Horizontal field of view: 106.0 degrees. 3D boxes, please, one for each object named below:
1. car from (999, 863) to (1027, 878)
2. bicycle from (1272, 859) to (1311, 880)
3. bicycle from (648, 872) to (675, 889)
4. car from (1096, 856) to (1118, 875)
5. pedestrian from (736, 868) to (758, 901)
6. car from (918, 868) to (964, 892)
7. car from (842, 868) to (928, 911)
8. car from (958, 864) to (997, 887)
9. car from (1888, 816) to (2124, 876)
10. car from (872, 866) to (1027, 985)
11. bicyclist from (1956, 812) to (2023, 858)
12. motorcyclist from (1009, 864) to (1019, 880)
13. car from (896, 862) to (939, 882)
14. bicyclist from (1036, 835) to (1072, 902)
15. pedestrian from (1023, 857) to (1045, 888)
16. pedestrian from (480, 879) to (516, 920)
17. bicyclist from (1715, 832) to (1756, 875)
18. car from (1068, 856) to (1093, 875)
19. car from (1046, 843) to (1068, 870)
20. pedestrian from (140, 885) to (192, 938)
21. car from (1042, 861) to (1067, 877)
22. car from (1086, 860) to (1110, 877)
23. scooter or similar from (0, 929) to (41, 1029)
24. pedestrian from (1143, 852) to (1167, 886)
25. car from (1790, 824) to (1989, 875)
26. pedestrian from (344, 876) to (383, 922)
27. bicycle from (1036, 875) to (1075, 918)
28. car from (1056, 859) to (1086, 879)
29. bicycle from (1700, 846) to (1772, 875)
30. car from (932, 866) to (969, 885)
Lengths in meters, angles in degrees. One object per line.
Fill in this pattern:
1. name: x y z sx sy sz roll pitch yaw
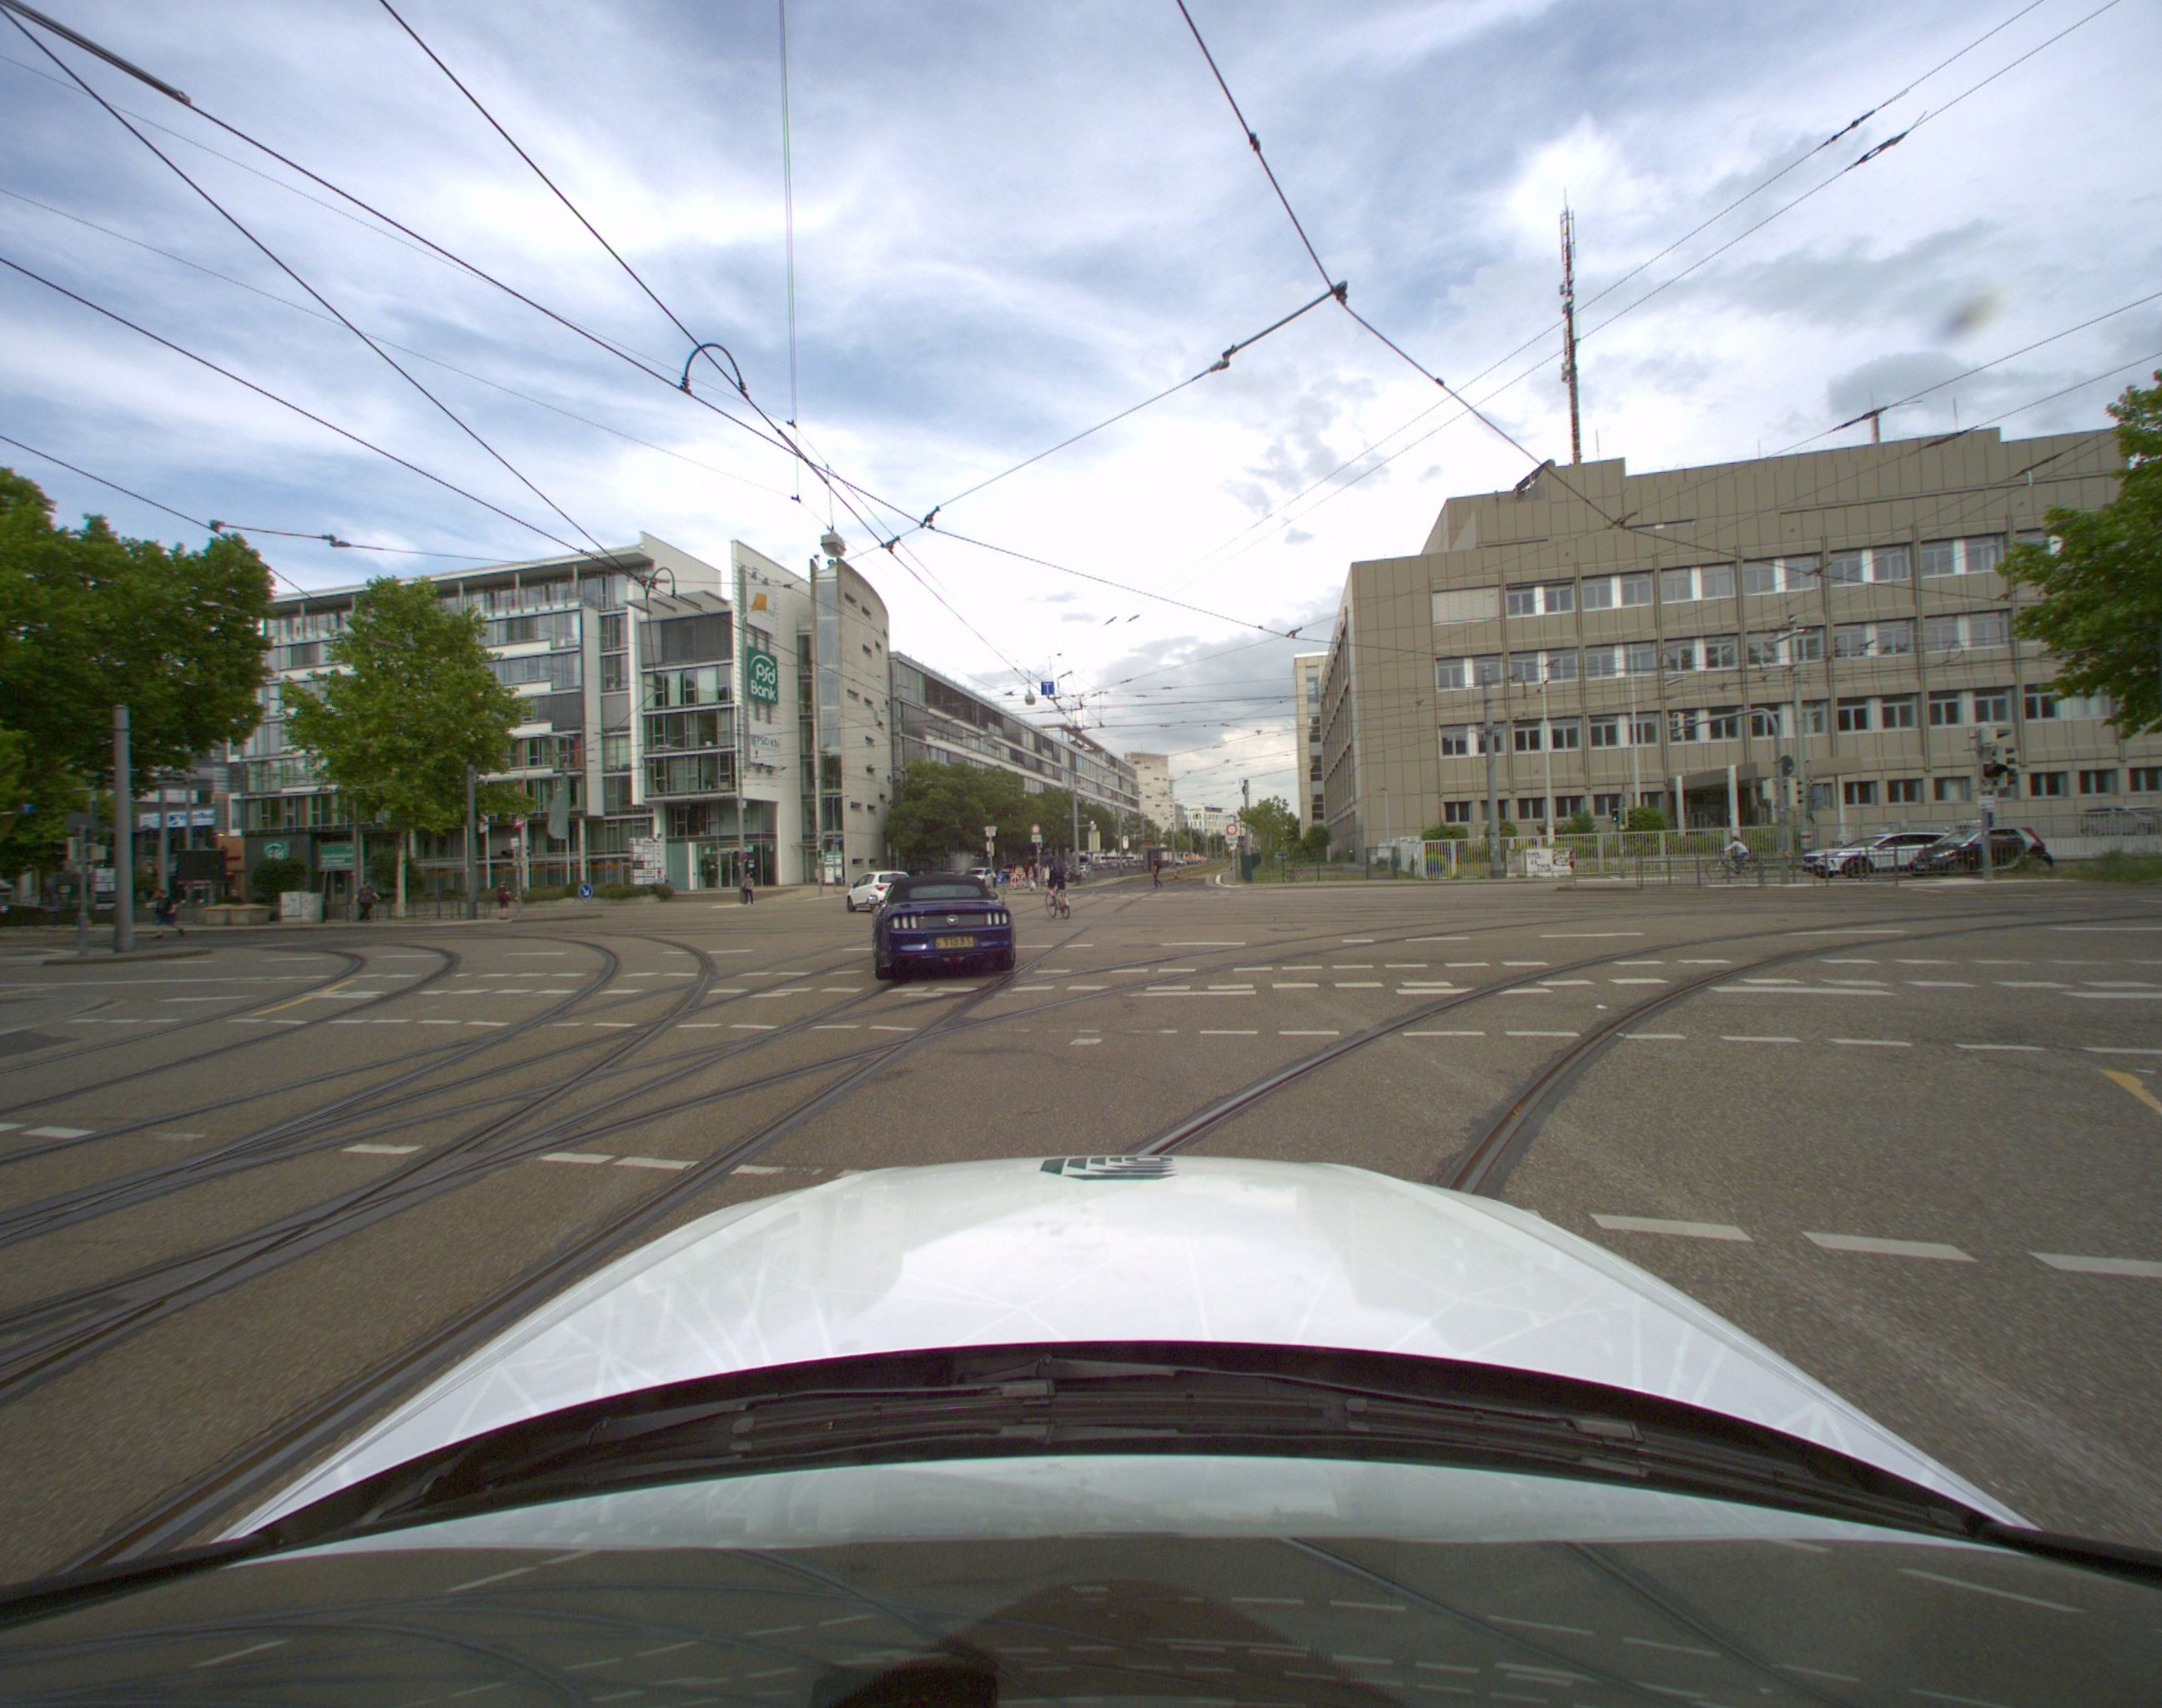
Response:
1. car: -7.505 1.808 90.741 1.974 1.556 4.525 0 0 10
2. bicycle: 11.307 0.864 43.837 0.637 0.981 2.136 -2 -3 -33
3. bicycle: -31.424 1.969 61.041 0.581 1.177 2.120 -1 -1 11
4. car: 2.879 1.214 88.611 1.775 1.987 4.131 -3 -1 9
5. pedestrian: -19.531 1.796 47.660 0.826 1.865 0.770 -3 -1 21
6. car: -9.782 1.787 57.154 1.656 1.506 4.249 0 0 12
7. car: -7.381 1.301 30.436 1.848 1.439 4.144 -2 -1 -32
8. car: -8.159 1.663 64.546 1.703 1.660 4.147 0 0 12
9. car: 27.814 -0.220 24.683 4.371 1.566 1.845 -2 -1 17
10. car: -2.171 0.921 12.370 1.879 1.404 4.260 -1 0 -15
11. bicyclist: 32.174 -0.662 28.866 1.314 1.550 0.806 -3 -1 16
12. motorcyclist: -6.784 1.807 82.439 0.814 1.616 0.885 -1 -1 13
13. car: -13.209 1.456 66.149 1.817 1.556 4.231 0 0 12
14. bicyclist: -0.764 0.402 22.670 0.796 1.785 1.229 -2 -1 -9
15. pedestrian: -2.864 1.153 50.102 0.980 1.855 0.906 -3 -1 21
16. pedestrian: -24.476 1.902 34.193 0.927 1.671 0.770 -3 -1 21
17. bicyclist: 26.151 -0.023 32.538 0.807 1.701 1.167 -1 0 -44
18. car: -0.008 1.061 76.090 1.695 1.606 4.089 -3 -1 9
19. car: -3.215 0.313 109.397 1.974 3.637 4.525 0 0 10
20. pedestrian: -33.819 2.114 30.100 0.796 1.899 1.008 -2 -1 20
21. car: -2.889 1.624 88.338 1.703 1.660 4.147 0 0 12
22. car: 1.735 1.448 83.771 1.857 1.606 4.223 -3 -1 9
23. scooter or similar: -13.145 1.483 9.363 1.189 1.128 0.948 -1 0 6
24. pedestrian: 4.192 0.838 45.934 1.077 1.898 0.906 -3 -1 17
25. car: 27.321 -0.125 27.705 4.374 1.504 2.008 -2 0 14
26. pedestrian: -30.476 1.899 34.596 0.838 1.855 0.842 -3 -1 7
27. bicycle: -0.734 1.149 22.705 0.800 1.086 2.125 -2 -1 -9
28. car: -0.866 1.261 70.340 1.868 1.628 4.097 -3 -1 9
29. bicycle: 26.154 0.267 32.543 0.807 1.086 2.157 -1 0 -44
30. car: -11.664 1.898 72.916 1.817 1.556 4.231 0 0 12
